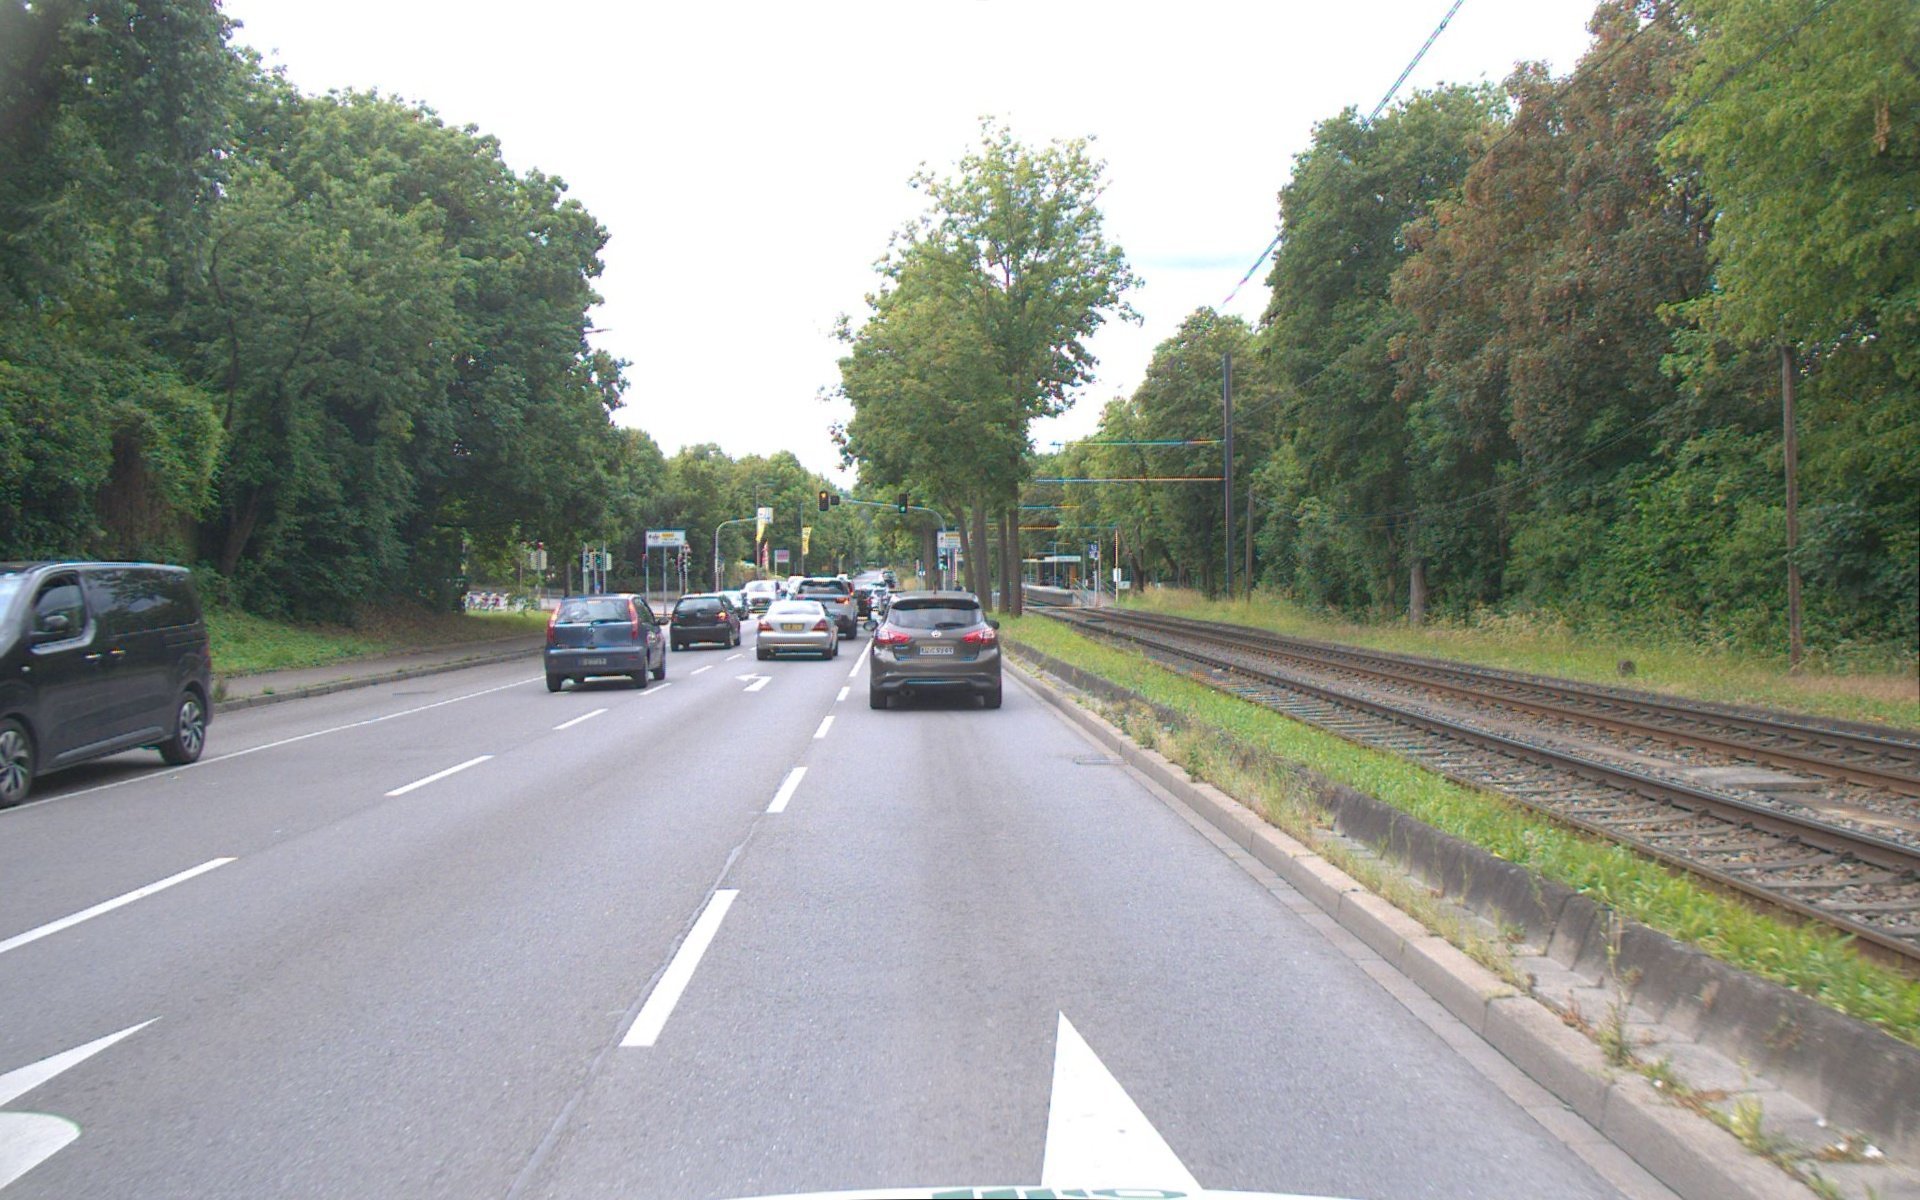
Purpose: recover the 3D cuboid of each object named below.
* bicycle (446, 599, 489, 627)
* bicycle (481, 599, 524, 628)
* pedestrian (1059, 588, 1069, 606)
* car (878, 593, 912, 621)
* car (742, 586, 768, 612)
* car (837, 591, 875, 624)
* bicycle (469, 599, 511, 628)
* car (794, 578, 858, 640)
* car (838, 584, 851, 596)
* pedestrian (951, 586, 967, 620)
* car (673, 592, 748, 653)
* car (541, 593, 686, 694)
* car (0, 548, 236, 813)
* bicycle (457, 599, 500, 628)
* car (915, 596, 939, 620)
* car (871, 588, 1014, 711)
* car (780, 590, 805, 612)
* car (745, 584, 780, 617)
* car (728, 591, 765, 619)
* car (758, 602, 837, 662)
[{"bbox_3d":[-22.366,0.592,75.099,0.535,1.274,1.928,1,-1,35],"label":"bicycle"},{"bbox_3d":[-20.432,0.625,73.897,0.535,1.274,1.928,1,-1,35],"label":"bicycle"},{"bbox_3d":[8.821,-0.268,140.367,0.703,1.538,0.724,1,-1,0],"label":"pedestrian"},{"bbox_3d":[-3.496,0.366,89.502,1.675,1.501,3.671,1,0,-1],"label":"car"},{"bbox_3d":[-15.307,-0.083,123.672,1.906,1.843,4.437,0,0,-7],"label":"car"},{"bbox_3d":[-4.900,0.329,78.272,1.669,1.506,3.666,0,0,-2],"label":"car"},{"bbox_3d":[-21.068,0.613,74.166,0.535,1.274,1.928,1,0,35],"label":"bicycle"},{"bbox_3d":[-4.129,0.286,51.480,1.767,1.826,4.501,1,0,-2],"label":"car"},{"bbox_3d":[-16.291,-1.450,233.602,1.864,1.708,5.076,0,0,-4],"label":"car"},{"bbox_3d":[-0.078,0.166,89.050,0.736,1.767,0.840,-3,0,2],"label":"pedestrian"},{"bbox_3d":[-6.702,0.573,44.671,1.525,1.492,3.806,-2,0,-2],"label":"car"},{"bbox_3d":[-5.652,0.668,27.378,1.559,1.493,3.928,-2,0,-1],"label":"car"},{"bbox_3d":[-8.009,0.621,14.081,1.767,1.937,4.686,-2,0,-3],"label":"car"},{"bbox_3d":[-21.676,0.602,74.420,0.535,1.274,1.928,1,-1,35],"label":"bicycle"},{"bbox_3d":[-2.207,0.506,111.368,1.473,1.555,3.669,1,0,-3],"label":"car"},{"bbox_3d":[-0.238,0.617,22.945,1.800,1.555,3.928,0,0,-1],"label":"car"},{"bbox_3d":[-12.632,0.063,124.862,1.705,1.565,3.908,1,0,-3],"label":"car"},{"bbox_3d":[-11.813,0.030,99.232,1.755,1.863,4.407,-2,0,-3],"label":"car"},{"bbox_3d":[-11.083,0.246,85.867,1.597,1.419,3.831,0,0,-3],"label":"car"},{"bbox_3d":[-3.638,0.703,37.466,1.523,1.289,3.821,0,0,-2],"label":"car"}]
